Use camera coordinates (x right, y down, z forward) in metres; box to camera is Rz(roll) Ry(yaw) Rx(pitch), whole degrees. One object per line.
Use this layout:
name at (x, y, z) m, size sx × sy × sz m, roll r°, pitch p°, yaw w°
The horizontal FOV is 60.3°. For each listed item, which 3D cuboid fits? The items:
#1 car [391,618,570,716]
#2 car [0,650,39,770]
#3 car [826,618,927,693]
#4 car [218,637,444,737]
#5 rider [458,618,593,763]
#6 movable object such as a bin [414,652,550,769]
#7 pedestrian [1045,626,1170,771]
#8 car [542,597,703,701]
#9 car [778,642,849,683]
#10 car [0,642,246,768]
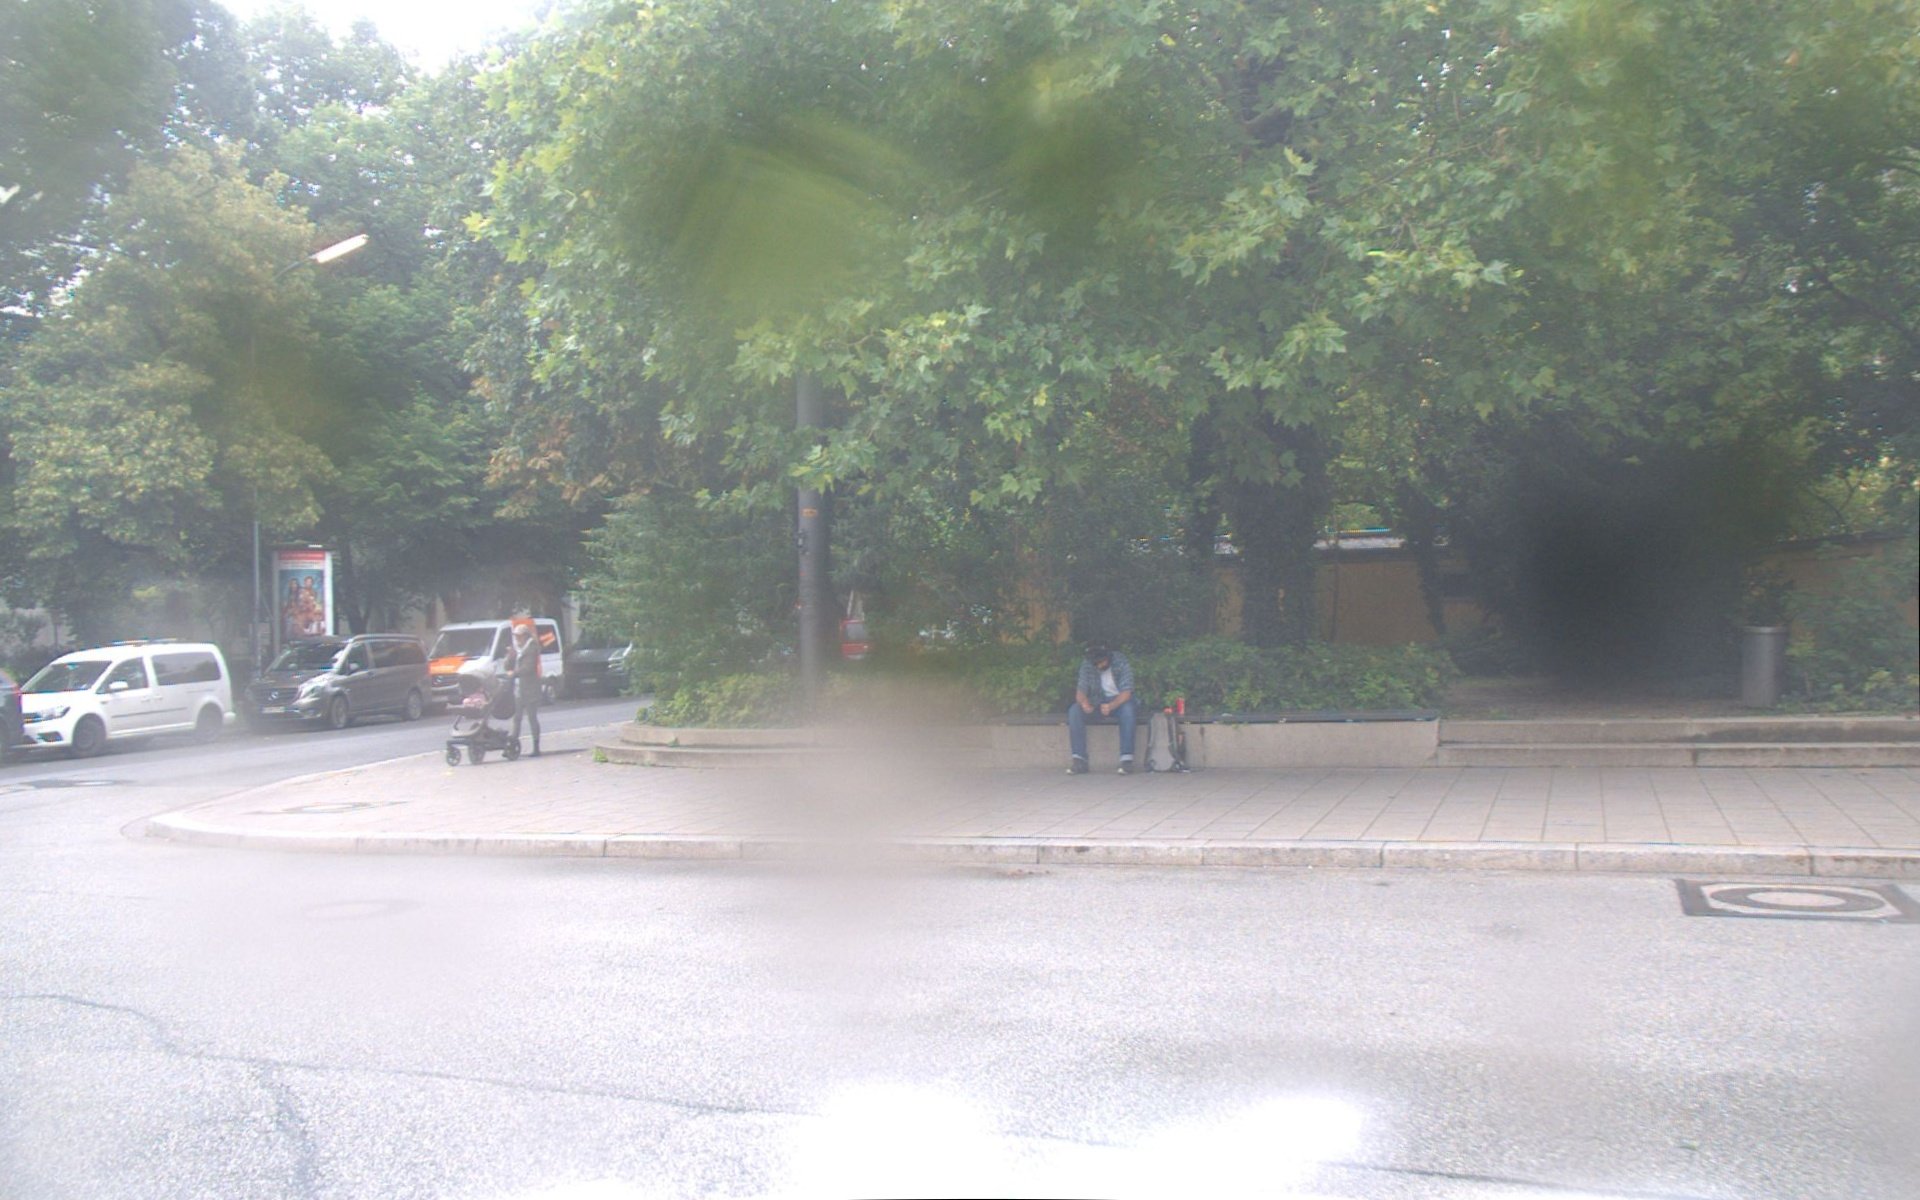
car at (-12.199, 1.657, 42.536) m, size 2.066 × 2.290 × 5.199 m, roll -2°, pitch -1°, yaw 14°
car at (-15.952, 1.692, 23.662) m, size 2.021 × 1.798 × 4.911 m, roll -2°, pitch -1°, yaw 14°
car at (-2.317, 1.544, 47.002) m, size 1.998 × 1.956 × 4.449 m, roll -2°, pitch -1°, yaw 8°
car at (-13.312, 1.792, 35.379) m, size 2.021 × 1.891 × 4.990 m, roll -2°, pitch -1°, yaw 14°
rider at (-5.438, 1.122, 20.741) m, size 1.061 × 1.696 × 1.138 m, roll -5°, pitch -2°, yaw 26°
movable object such as a bin at (-5.773, 1.323, 20.008) m, size 1.057 × 1.289 × 1.086 m, roll -5°, pitch -2°, yaw 26°
pedestrian at (1.307, 0.856, 14.548) m, size 0.795 × 1.210 × 0.919 m, roll -3°, pitch -1°, yaw 25°
car at (-10.379, 1.491, 51.575) m, size 2.285 × 2.973 × 6.584 m, roll -2°, pitch -1°, yaw 14°
car at (-6.227, 2.650, 70.787) m, size 1.855 × 1.599 × 4.077 m, roll -2°, pitch -1°, yaw 13°
car at (-14.881, 1.755, 28.922) m, size 1.885 × 1.928 × 4.871 m, roll -2°, pitch -1°, yaw 12°
